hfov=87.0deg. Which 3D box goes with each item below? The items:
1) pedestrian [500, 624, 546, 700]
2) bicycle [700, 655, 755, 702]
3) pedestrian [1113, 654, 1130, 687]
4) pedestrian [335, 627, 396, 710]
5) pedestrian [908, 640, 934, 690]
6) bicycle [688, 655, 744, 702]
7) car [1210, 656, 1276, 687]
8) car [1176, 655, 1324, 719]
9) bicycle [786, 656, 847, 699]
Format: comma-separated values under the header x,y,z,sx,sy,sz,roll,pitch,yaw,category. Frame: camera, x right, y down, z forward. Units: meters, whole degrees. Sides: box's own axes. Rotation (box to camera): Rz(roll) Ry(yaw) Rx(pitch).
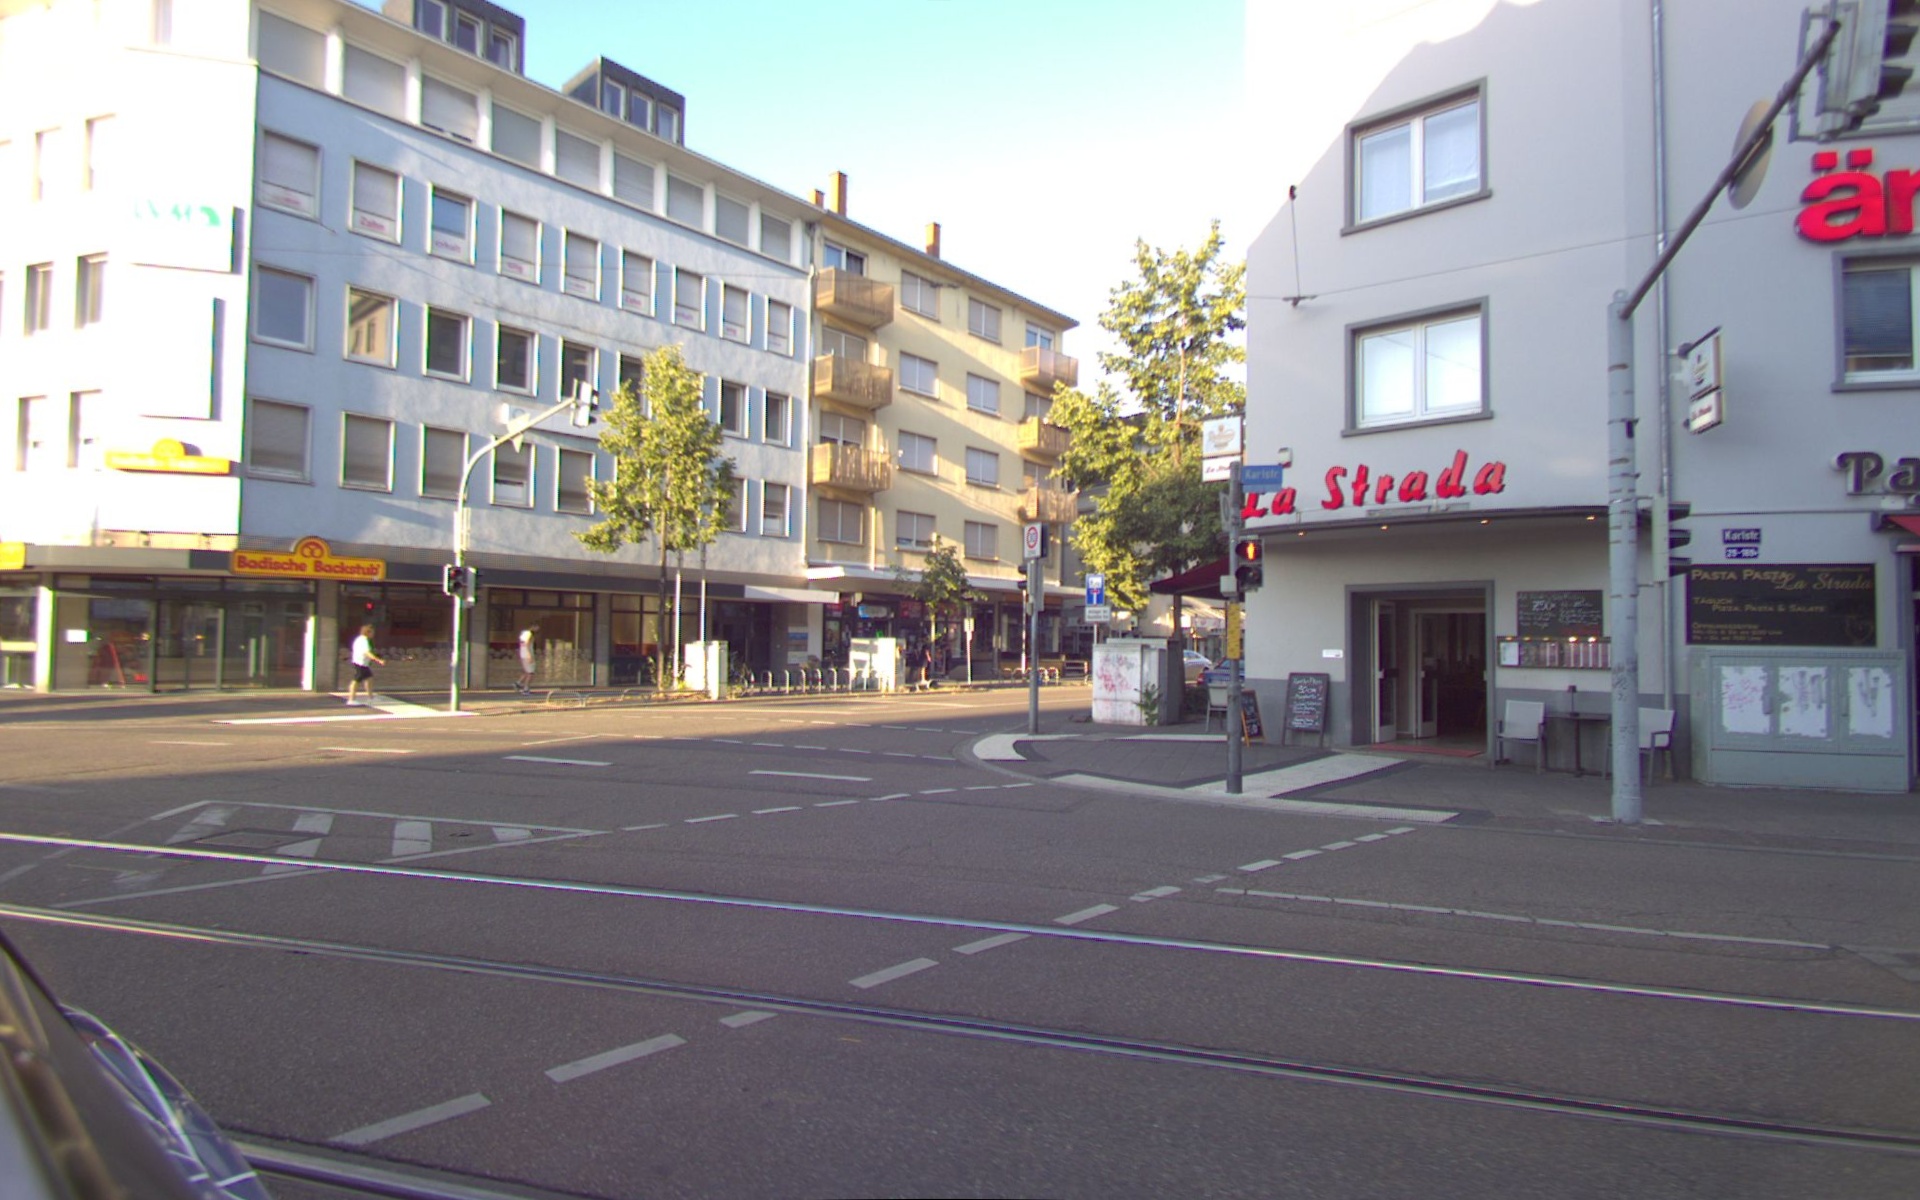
x,y,z,sx,sy,sz,roll,pitch,yaw,category
-11.211,1.583,25.980,0.977,1.901,0.809,2,-2,-20,pedestrian
-6.399,2.141,27.830,1.919,1.213,0.463,-2,-4,44,bicycle
7.606,3.329,47.664,0.641,1.542,0.542,4,-5,-43,pedestrian
-12.905,1.475,22.002,0.977,1.739,0.809,2,-2,-20,pedestrian
-1.443,2.426,37.640,0.710,1.821,0.641,-5,-7,41,pedestrian
-6.608,2.103,27.364,1.919,1.213,0.463,-2,-4,44,bicycle
14.295,3.601,50.973,1.727,1.432,3.977,-1,-4,40,car
7.289,2.109,25.141,1.920,1.397,4.322,-1,-4,41,car
-4.296,2.300,30.249,1.912,1.213,0.465,-1,-4,31,bicycle
